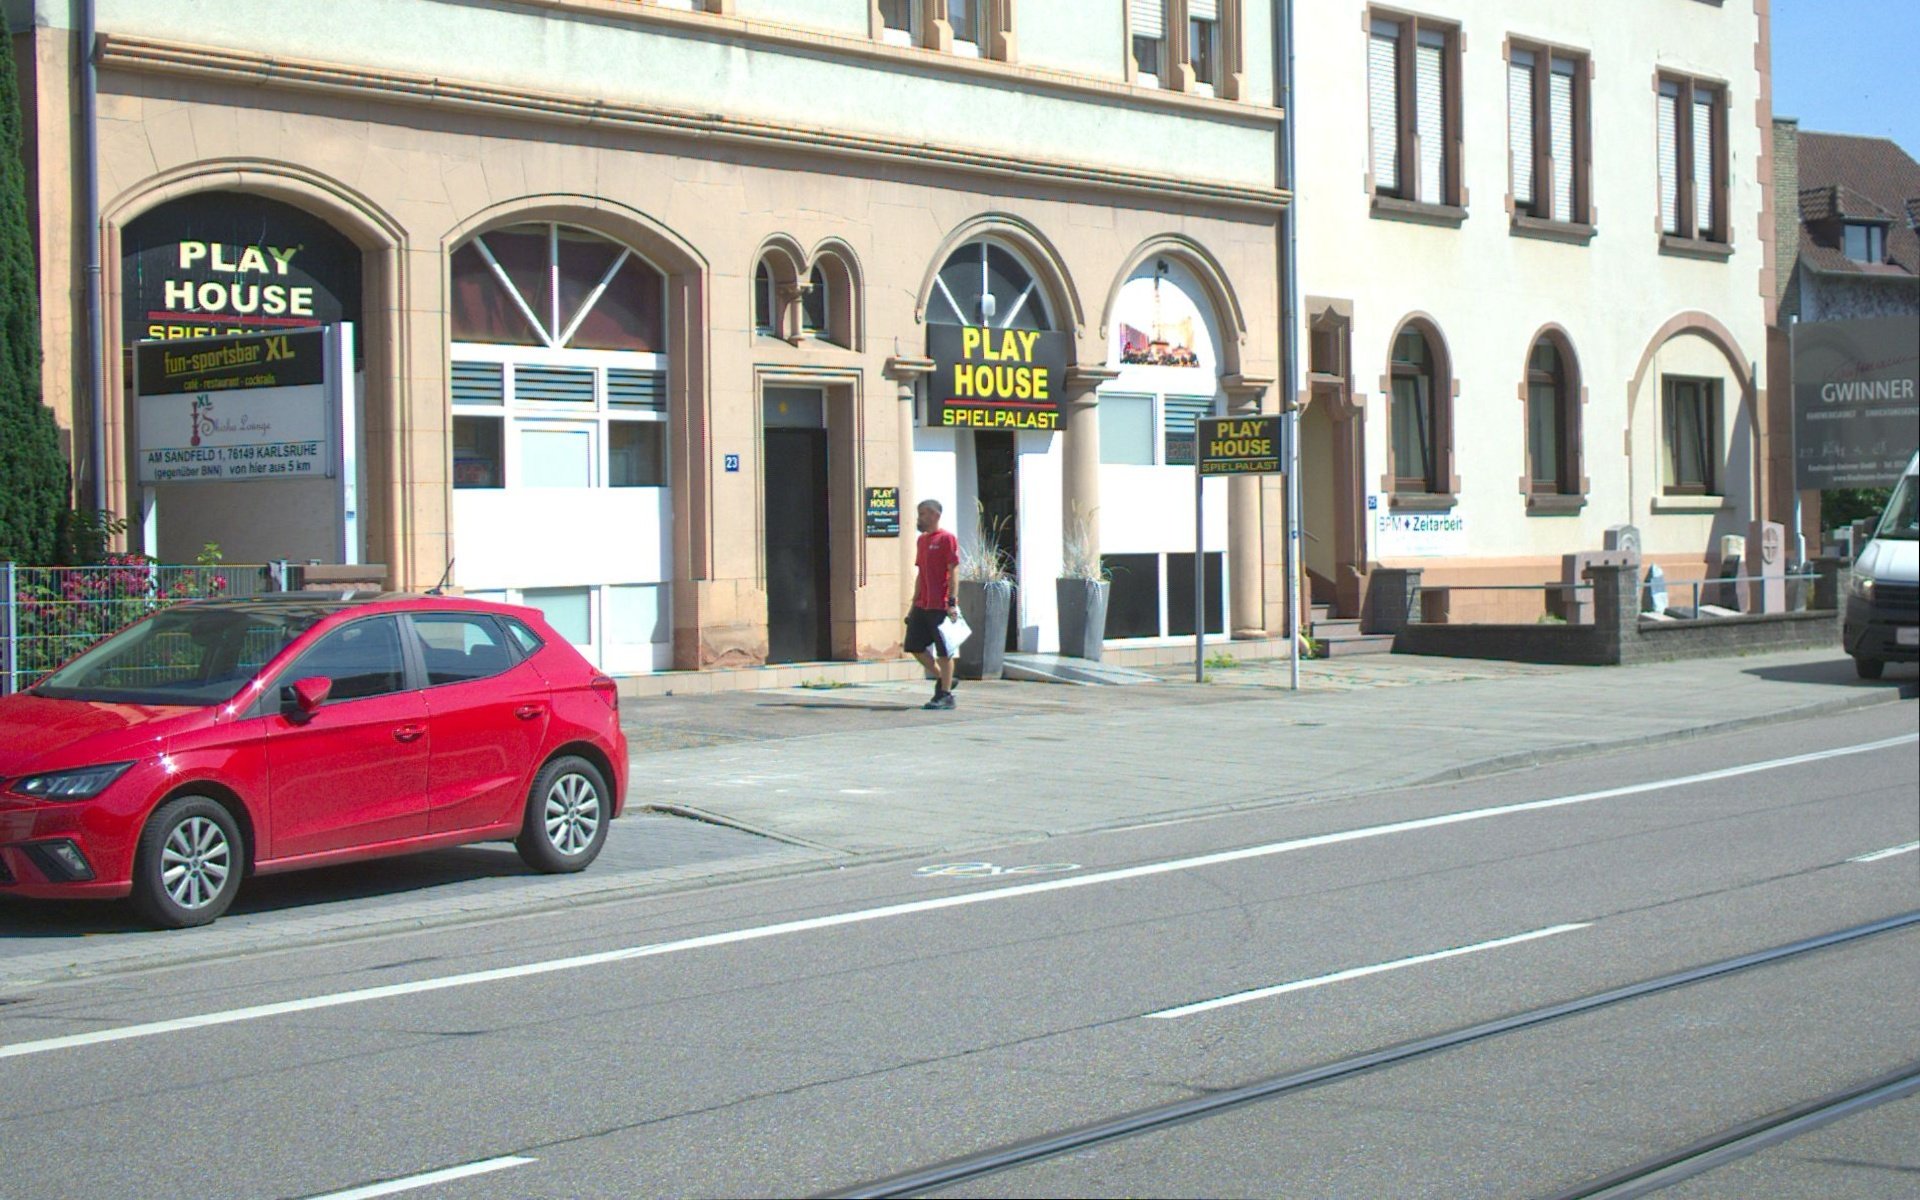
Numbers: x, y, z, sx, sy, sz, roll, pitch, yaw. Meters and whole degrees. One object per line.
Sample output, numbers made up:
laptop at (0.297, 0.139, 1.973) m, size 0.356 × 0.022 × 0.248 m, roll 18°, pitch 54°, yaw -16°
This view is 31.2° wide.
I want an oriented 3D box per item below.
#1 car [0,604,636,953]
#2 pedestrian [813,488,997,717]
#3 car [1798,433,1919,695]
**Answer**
car at (-3.551, 0.776, 16.848) m, size 1.723 × 1.401 × 3.993 m, roll -1°, pitch 1°, yaw 35°
pedestrian at (-0.449, 0.005, 27.998) m, size 1.126 × 1.809 × 0.945 m, roll -2°, pitch 1°, yaw -35°
car at (11.118, -0.428, 35.883) m, size 2.334 × 2.527 × 6.493 m, roll 2°, pitch 2°, yaw 35°
